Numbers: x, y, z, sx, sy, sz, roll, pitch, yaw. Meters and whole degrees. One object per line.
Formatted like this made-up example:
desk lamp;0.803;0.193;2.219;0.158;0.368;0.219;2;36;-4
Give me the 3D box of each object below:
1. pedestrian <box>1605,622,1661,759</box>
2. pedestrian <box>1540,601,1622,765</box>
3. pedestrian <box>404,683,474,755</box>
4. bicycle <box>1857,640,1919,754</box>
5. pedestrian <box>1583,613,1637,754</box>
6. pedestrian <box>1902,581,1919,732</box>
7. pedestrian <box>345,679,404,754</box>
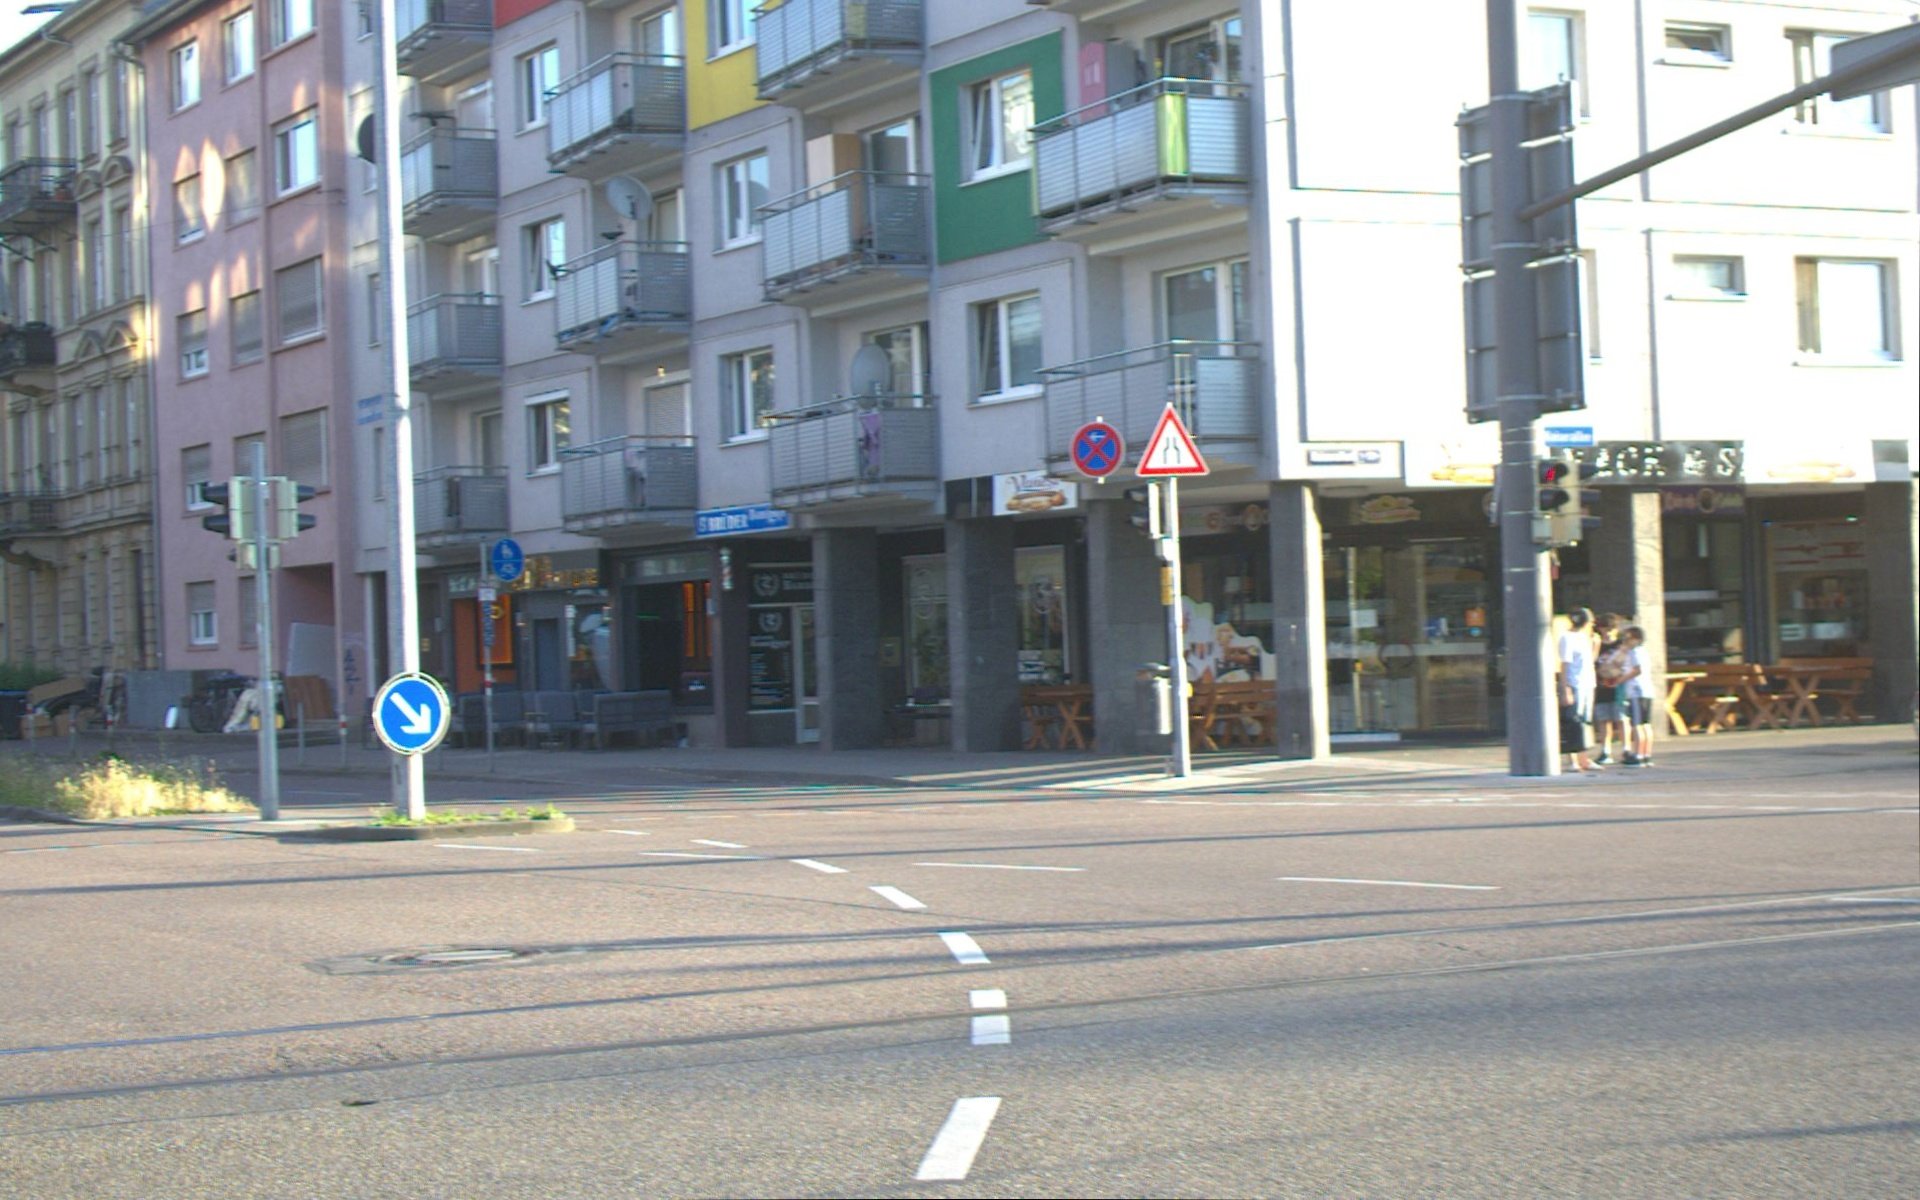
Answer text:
pedestrian;6.873;0.922;35.092;0.382;1.379;0.395;-3;0;32
pedestrian;6.256;0.833;34.630;0.572;1.614;0.603;-3;0;29
pedestrian;-8.813;2.006;58.169;0.858;1.166;0.792;-2;0;-35
bicycle;10.560;1.035;36.987;0.636;1.204;1.800;-2;0;-30
pedestrian;6.778;0.868;35.846;0.377;1.444;0.394;-3;0;33
pedestrian;10.935;0.622;38.397;0.545;1.678;0.581;-2;0;-8
pedestrian;-10.248;2.038;60.181;0.710;1.252;0.793;-2;-1;-33
